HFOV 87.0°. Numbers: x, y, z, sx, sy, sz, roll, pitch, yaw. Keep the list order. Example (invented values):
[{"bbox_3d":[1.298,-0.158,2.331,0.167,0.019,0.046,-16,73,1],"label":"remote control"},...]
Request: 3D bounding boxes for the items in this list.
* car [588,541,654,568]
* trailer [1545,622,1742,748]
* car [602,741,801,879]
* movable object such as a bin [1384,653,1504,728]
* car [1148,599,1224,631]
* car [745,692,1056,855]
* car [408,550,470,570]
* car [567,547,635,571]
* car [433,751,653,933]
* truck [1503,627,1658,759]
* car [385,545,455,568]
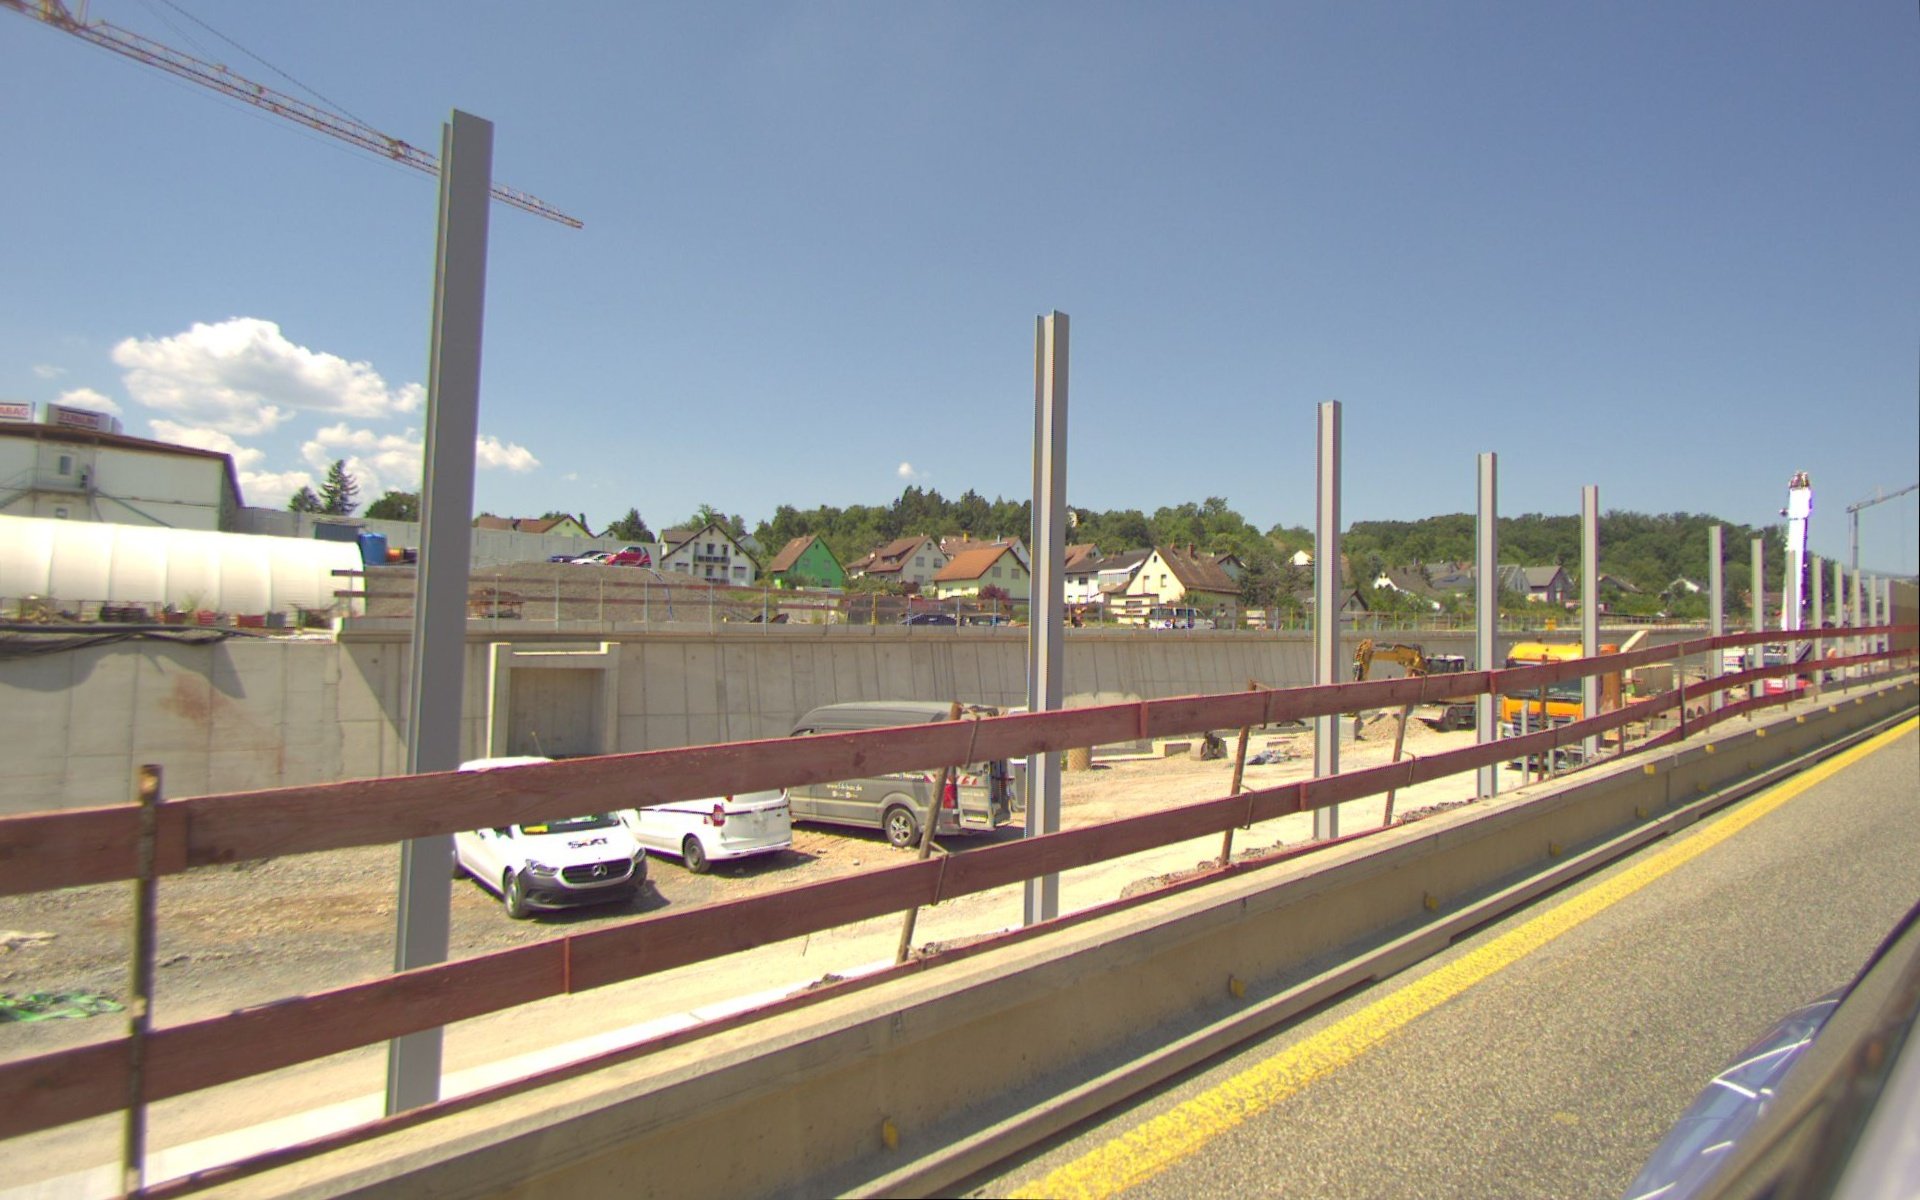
[{"bbox_3d":[-20.836,-2.763,62.194,3.544,1.505,1.544,-1,0,-41],"label":"car"},{"bbox_3d":[24.038,2.636,35.154,12.669,3.394,2.444,-1,0,-41],"label":"trailer"},{"bbox_3d":[-4.639,3.568,17.824,3.860,1.708,1.665,-2,-2,45],"label":"car"},{"bbox_3d":[21.222,3.882,44.367,3.924,2.820,3.270,0,0,-35],"label":"movable object such as a bin"},{"bbox_3d":[12.213,0.795,54.543,4.527,1.623,1.656,-1,0,-42],"label":"car"},{"bbox_3d":[-1.337,3.190,19.888,6.267,2.615,2.027,-3,-4,37],"label":"car"},{"bbox_3d":[-41.767,-3.189,81.184,4.139,1.505,1.728,-1,0,-39],"label":"car"},{"bbox_3d":[-24.952,-2.823,70.369,4.141,1.505,1.727,-1,0,-41],"label":"car"},{"bbox_3d":[-6.468,3.456,15.365,1.689,1.792,4.797,3,-4,-40],"label":"car"},{"bbox_3d":[18.846,2.646,30.654,5.341,3.447,2.503,0,0,-41],"label":"truck"},{"bbox_3d":[-37.899,-3.054,71.011,4.136,1.505,1.729,-1,0,-37],"label":"car"}]
